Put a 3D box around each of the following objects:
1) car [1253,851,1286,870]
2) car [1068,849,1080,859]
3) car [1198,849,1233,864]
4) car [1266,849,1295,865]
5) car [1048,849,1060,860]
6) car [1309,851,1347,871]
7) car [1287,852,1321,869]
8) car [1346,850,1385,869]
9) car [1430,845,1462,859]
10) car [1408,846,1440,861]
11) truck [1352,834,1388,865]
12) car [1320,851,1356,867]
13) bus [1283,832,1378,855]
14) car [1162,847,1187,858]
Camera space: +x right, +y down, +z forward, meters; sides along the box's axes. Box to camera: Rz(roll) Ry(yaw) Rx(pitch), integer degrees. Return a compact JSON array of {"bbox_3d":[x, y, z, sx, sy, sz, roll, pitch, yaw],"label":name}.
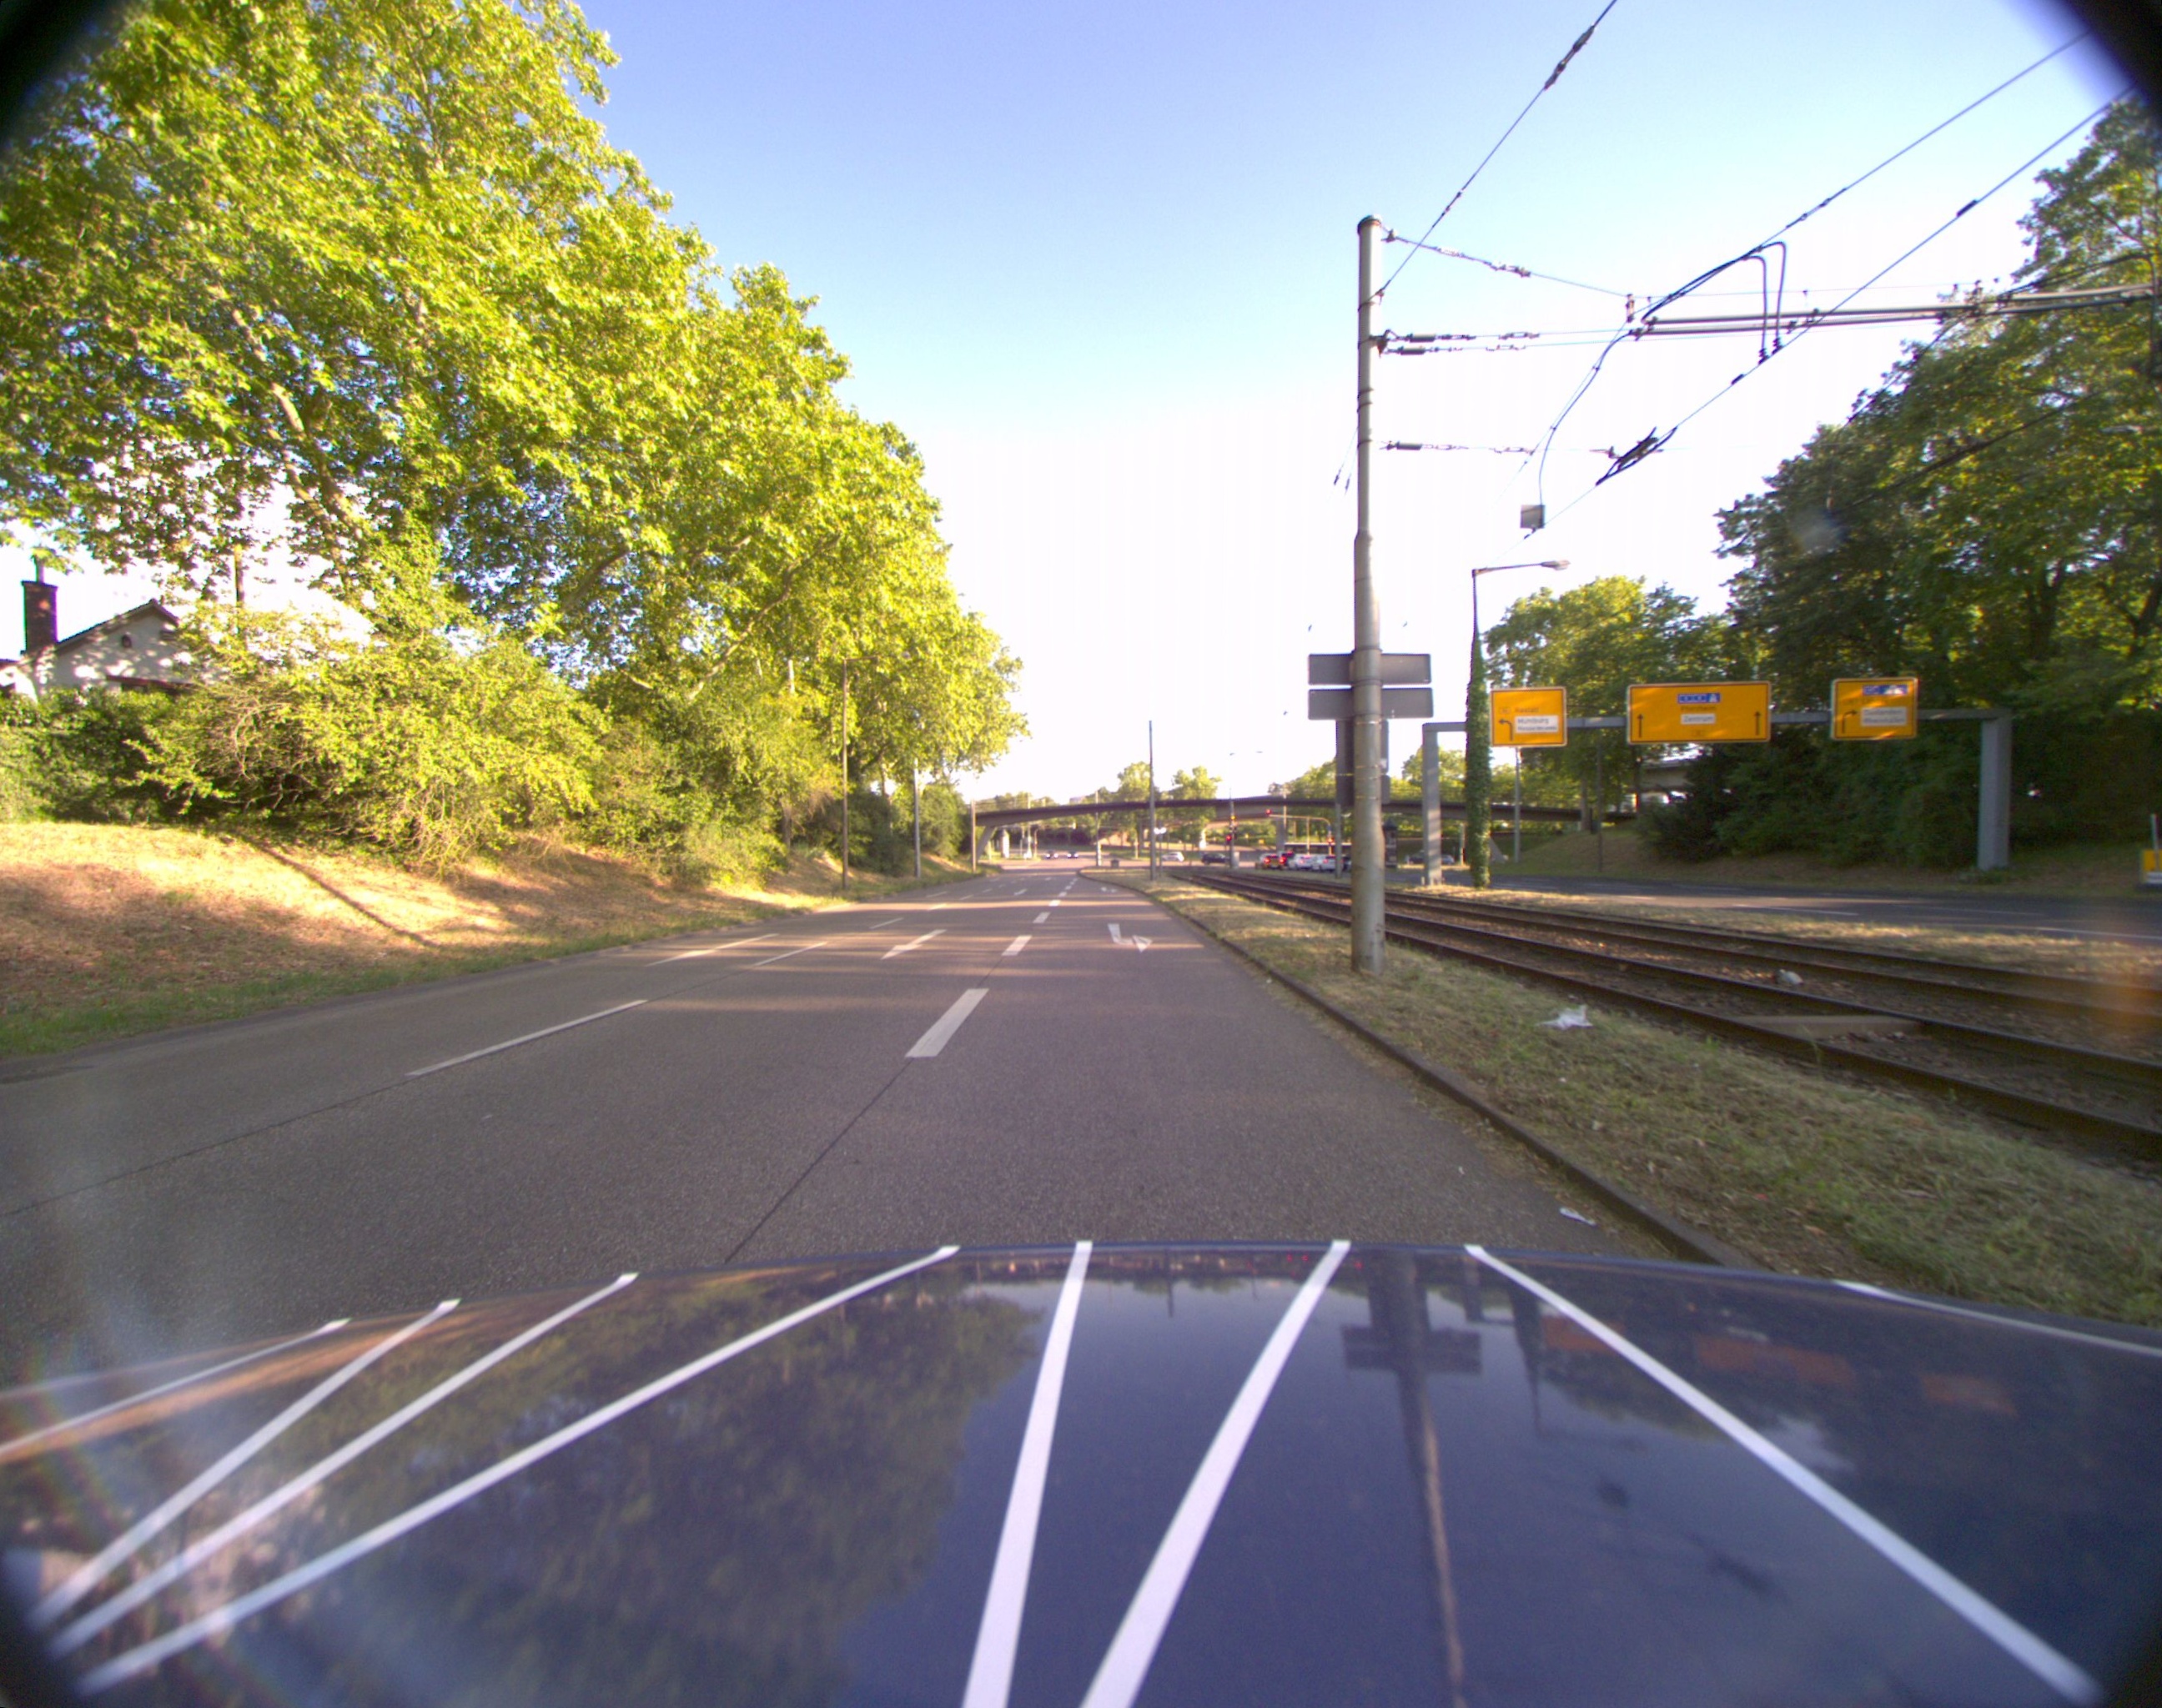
[{"bbox_3d":[16.146,0.508,65.240,1.767,1.535,4.000,-1,0,0],"label":"car"},{"bbox_3d":[-1.259,0.034,141.883,1.905,1.726,3.998,-2,0,-5],"label":"car"},{"bbox_3d":[16.630,0.297,93.891,3.993,1.646,1.786,-2,1,14],"label":"car"},{"bbox_3d":[19.580,0.266,74.746,1.917,1.540,4.227,-1,0,4],"label":"car"},{"bbox_3d":[-4.903,0.088,139.207,1.960,1.779,3.998,-2,0,-5],"label":"car"},{"bbox_3d":[20.026,0.543,61.810,1.767,1.535,4.000,-1,0,0],"label":"car"},{"bbox_3d":[19.915,0.545,68.088,1.918,1.416,4.227,-1,0,2],"label":"car"},{"bbox_3d":[23.967,0.466,64.093,1.813,1.535,4.000,-1,0,1],"label":"car"},{"bbox_3d":[51.183,-0.274,106.551,3.890,1.848,1.679,-2,1,20],"label":"car"},{"bbox_3d":[46.984,-0.050,104.205,3.805,1.848,1.679,-2,1,20],"label":"car"},{"bbox_3d":[28.381,-0.437,74.804,2.281,2.862,6.887,-1,0,13],"label":"truck"},{"bbox_3d":[23.736,0.467,70.213,1.868,1.416,4.226,-1,0,0],"label":"car"},{"bbox_3d":[36.890,-1.535,112.560,13.164,2.846,2.420,-2,1,21],"label":"bus"},{"bbox_3d":[14.895,-0.248,120.857,3.647,1.503,1.665,-2,1,21],"label":"car"}]
